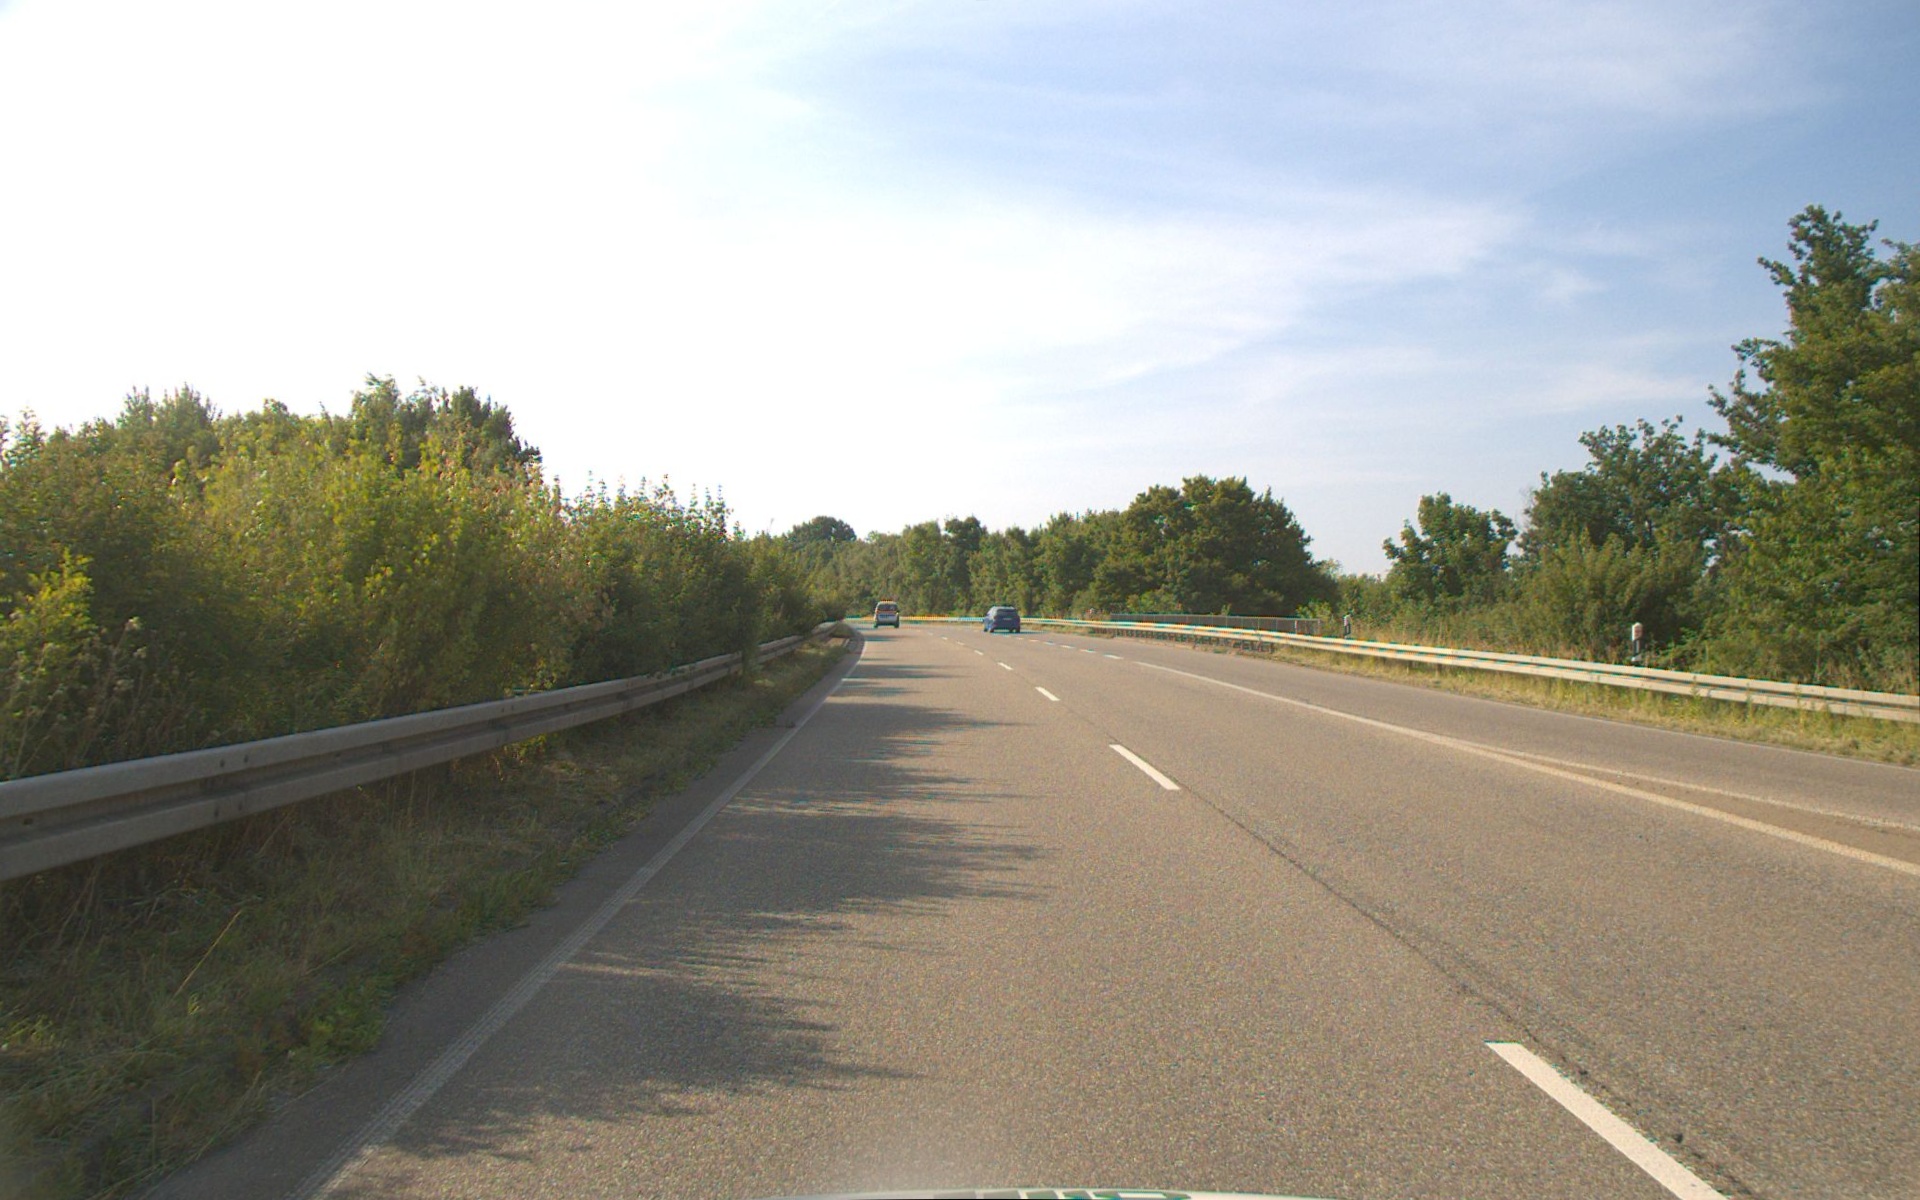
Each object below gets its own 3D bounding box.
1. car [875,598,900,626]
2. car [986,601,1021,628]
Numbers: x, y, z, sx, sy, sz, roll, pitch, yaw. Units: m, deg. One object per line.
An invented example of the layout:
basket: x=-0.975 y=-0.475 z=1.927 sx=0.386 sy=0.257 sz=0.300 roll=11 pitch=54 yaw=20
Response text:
car: x=-5.102 y=0.859 z=116.663 sx=1.730 sy=1.915 sz=3.998 roll=0 pitch=0 yaw=-2
car: x=2.471 y=0.845 z=94.964 sx=1.743 sy=1.477 sz=3.997 roll=0 pitch=-1 yaw=-3
